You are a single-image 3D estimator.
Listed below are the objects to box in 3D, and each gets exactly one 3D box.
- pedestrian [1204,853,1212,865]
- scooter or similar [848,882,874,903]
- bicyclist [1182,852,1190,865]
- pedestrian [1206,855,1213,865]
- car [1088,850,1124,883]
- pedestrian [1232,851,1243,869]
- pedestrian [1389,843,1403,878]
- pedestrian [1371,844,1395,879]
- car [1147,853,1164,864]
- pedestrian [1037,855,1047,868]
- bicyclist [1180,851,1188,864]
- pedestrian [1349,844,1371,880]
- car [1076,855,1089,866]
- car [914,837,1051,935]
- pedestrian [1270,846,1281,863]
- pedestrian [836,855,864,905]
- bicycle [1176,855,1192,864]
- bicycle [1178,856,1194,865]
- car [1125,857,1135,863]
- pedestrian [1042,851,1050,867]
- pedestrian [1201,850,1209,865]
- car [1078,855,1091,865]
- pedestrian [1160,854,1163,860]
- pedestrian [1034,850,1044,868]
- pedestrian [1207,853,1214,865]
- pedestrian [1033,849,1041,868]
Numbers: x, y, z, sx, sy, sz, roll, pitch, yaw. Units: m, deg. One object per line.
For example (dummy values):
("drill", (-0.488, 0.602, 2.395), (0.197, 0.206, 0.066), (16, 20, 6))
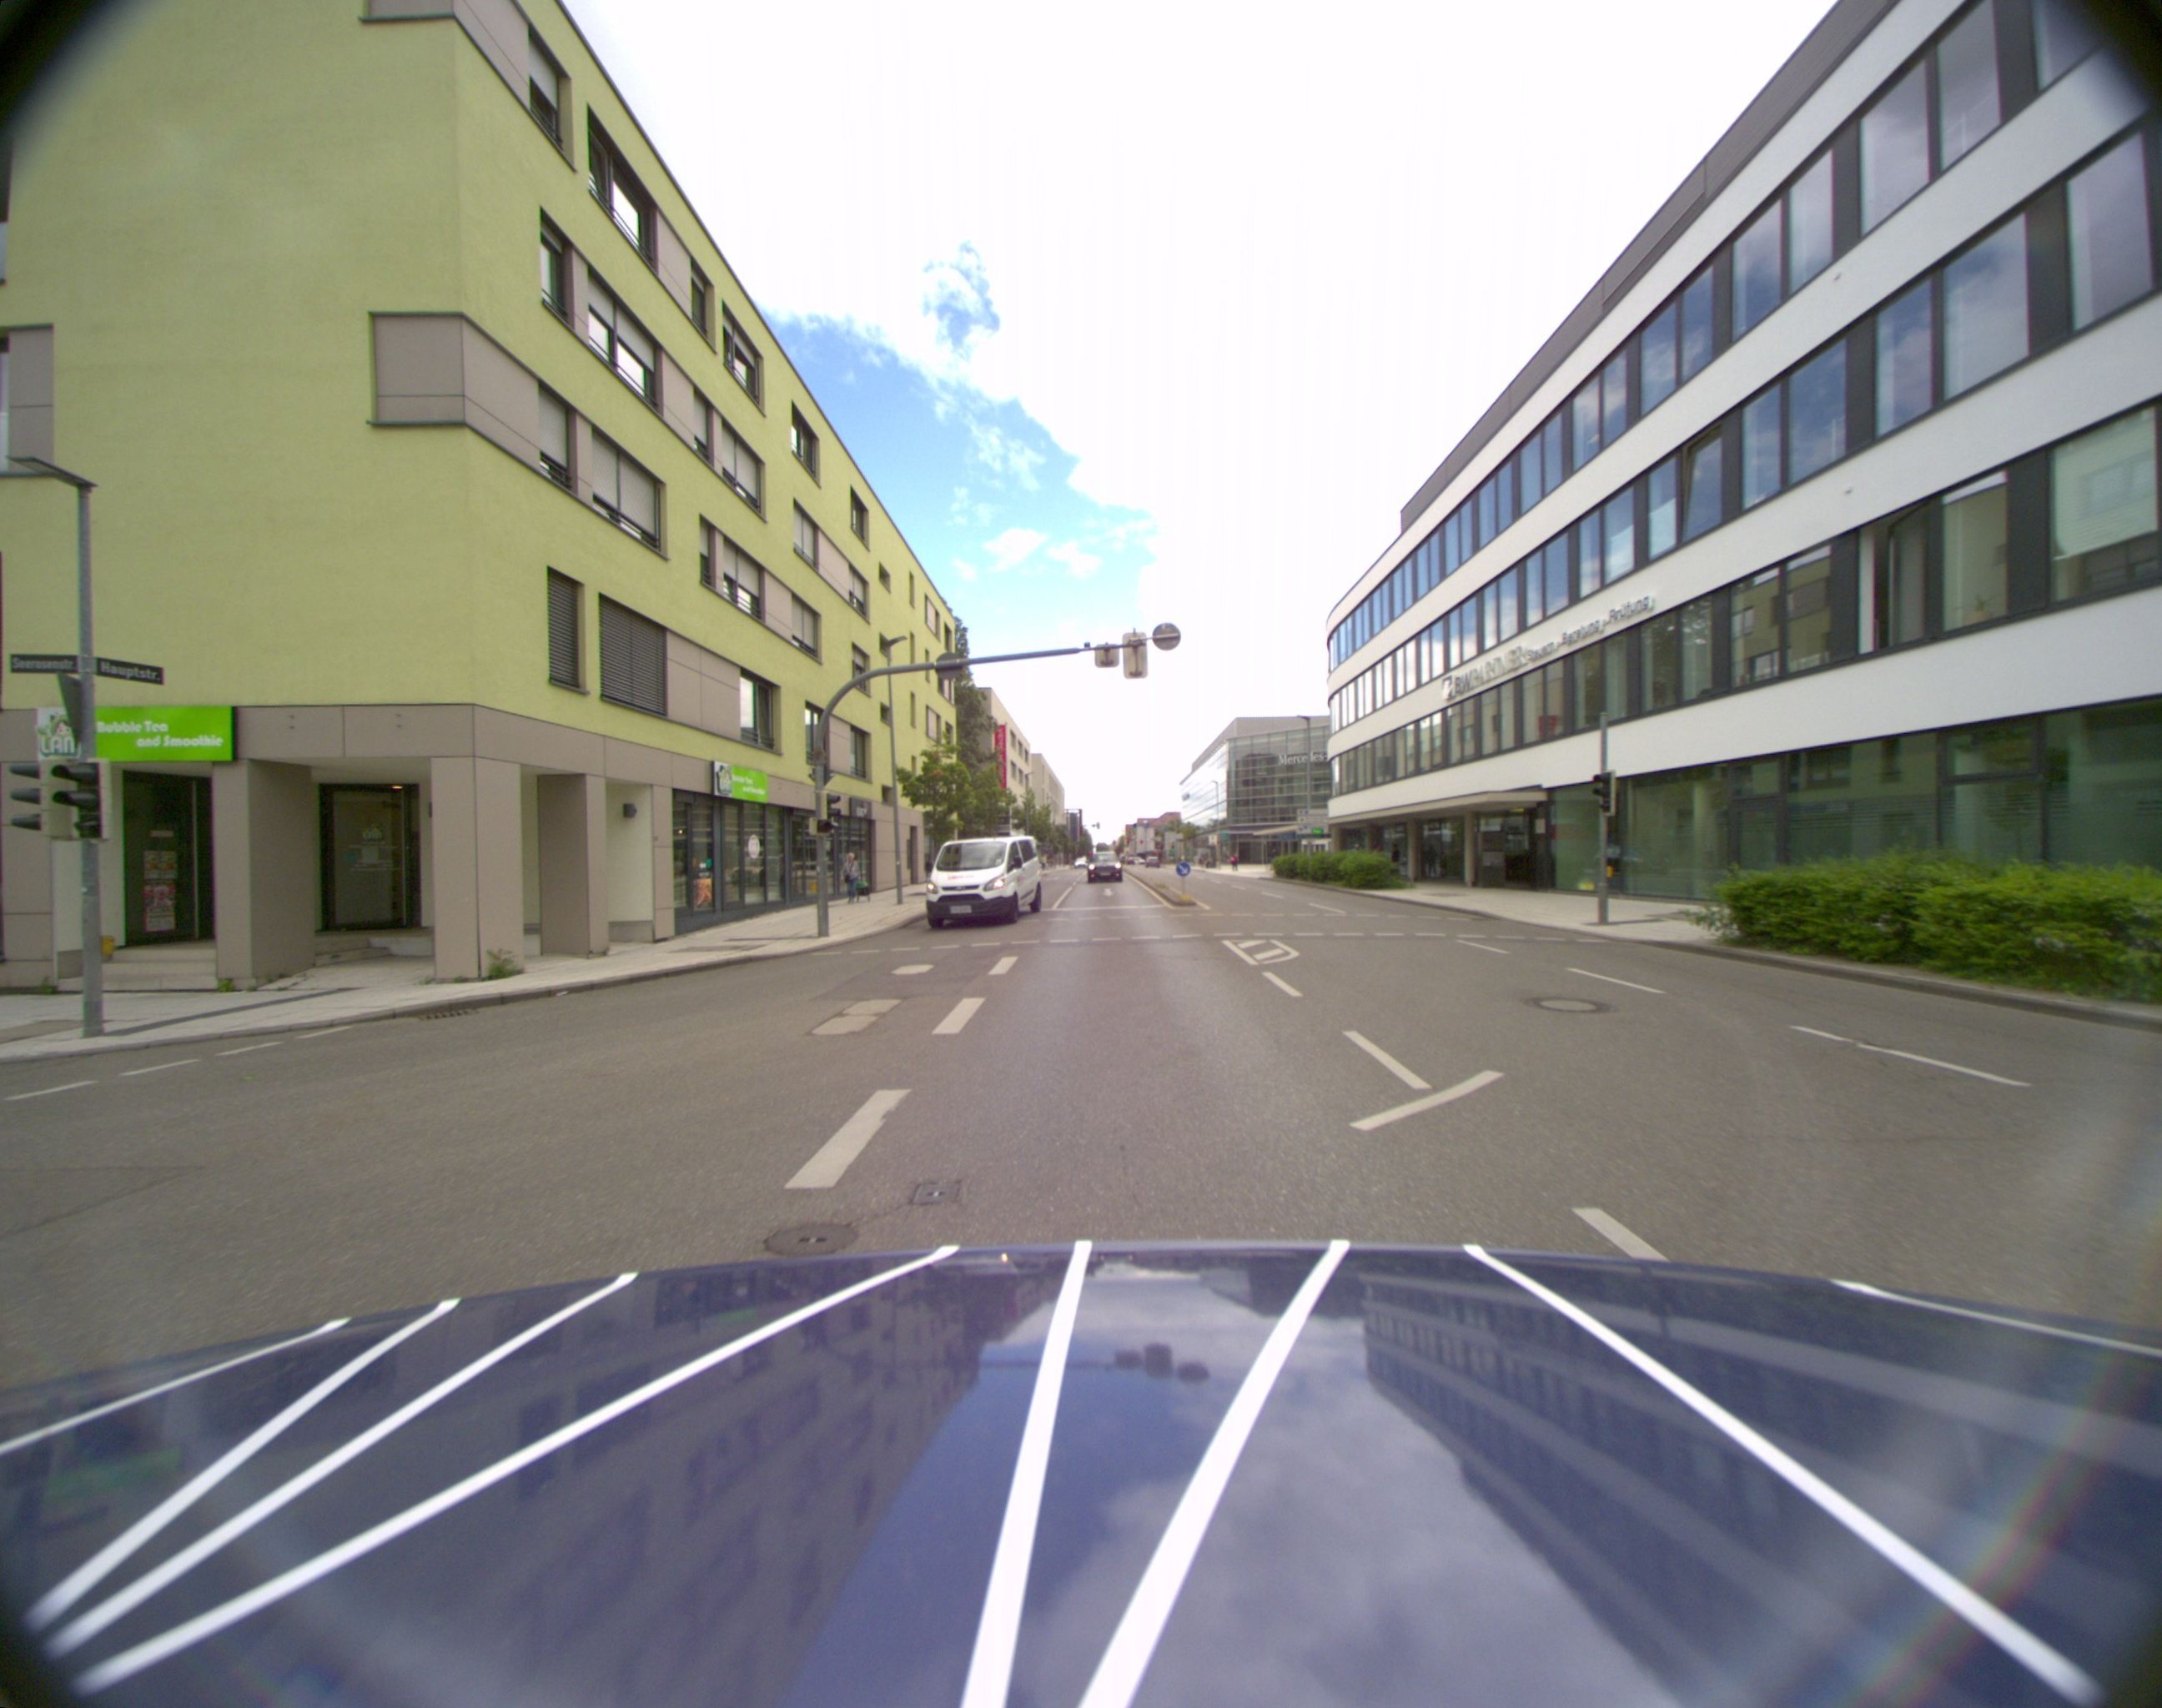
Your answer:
("pedestrian", (13.656, 0.554, 81.629), (0.686, 1.246, 0.576), (0, 0, 0))
("scooter or similar", (-7.177, 1.254, 24.826), (0.593, 0.669, 0.824), (0, 0, 1))
("bicyclist", (13.917, 0.604, 100.536), (0.783, 1.639, 0.639), (-3, 0, 17))
("pedestrian", (13.698, 0.677, 81.030), (0.686, 1.069, 0.576), (1, 0, 0))
("car", (1.338, 0.599, 39.076), (1.691, 1.550, 4.745), (-2, 0, 4))
("pedestrian", (13.403, 0.510, 65.074), (0.832, 1.558, 0.813), (-2, 0, 7))
("pedestrian", (15.524, 0.325, 37.403), (0.505, 1.720, 0.616), (0, 1, 33))
("pedestrian", (14.280, 0.366, 35.958), (0.732, 1.604, 0.931), (-2, 0, 4))
("car", (10.044, 0.595, 102.617), (1.901, 1.407, 4.471), (-3, 0, 2))
("pedestrian", (-3.678, 0.675, 71.616), (0.945, 1.252, 0.732), (0, 1, -1))
("bicyclist", (14.029, 0.472, 103.438), (0.749, 1.789, 0.772), (-4, 0, -44))
("pedestrian", (13.494, 0.373, 36.774), (0.732, 1.664, 0.931), (-2, 0, 4))
("car", (0.235, 1.009, 117.798), (1.740, 1.533, 4.791), (-3, 0, 2))
("car", (-2.193, 0.671, 18.588), (1.999, 1.976, 5.003), (-3, 0, 8))
("pedestrian", (23.881, 0.061, 93.294), (0.904, 1.934, 0.748), (-3, 1, -37))
("pedestrian", (-7.315, 0.816, 24.096), (0.697, 1.584, 0.603), (0, 1, 1))
("bicycle", (14.045, 0.757, 103.439), (0.749, 1.199, 2.025), (-4, 0, -44))
("bicycle", (13.899, 0.862, 100.548), (2.002, 1.124, 0.639), (-3, 0, 17))
("car", (11.272, 1.421, 174.467), (1.803, 1.458, 3.999), (-1, 0, -4))
("pedestrian", (-3.358, 0.497, 73.016), (0.580, 1.581, 0.733), (0, 1, 7))
("pedestrian", (13.442, 0.381, 82.270), (0.688, 1.622, 0.574), (0, 1, -39))
("car", (0.532, 0.885, 110.965), (1.787, 1.417, 4.514), (-2, 0, 1))
("pedestrian", (19.770, 0.821, 186.506), (0.555, 1.507, 0.582), (-1, 0, -31))
("pedestrian", (-3.835, 0.442, 69.182), (0.722, 1.674, 0.733), (0, 1, 7))
("pedestrian", (13.674, 0.533, 80.359), (0.686, 1.312, 0.576), (1, 1, 0))
("pedestrian", (-4.050, 0.445, 70.513), (0.580, 1.759, 0.857), (0, 1, 7))
